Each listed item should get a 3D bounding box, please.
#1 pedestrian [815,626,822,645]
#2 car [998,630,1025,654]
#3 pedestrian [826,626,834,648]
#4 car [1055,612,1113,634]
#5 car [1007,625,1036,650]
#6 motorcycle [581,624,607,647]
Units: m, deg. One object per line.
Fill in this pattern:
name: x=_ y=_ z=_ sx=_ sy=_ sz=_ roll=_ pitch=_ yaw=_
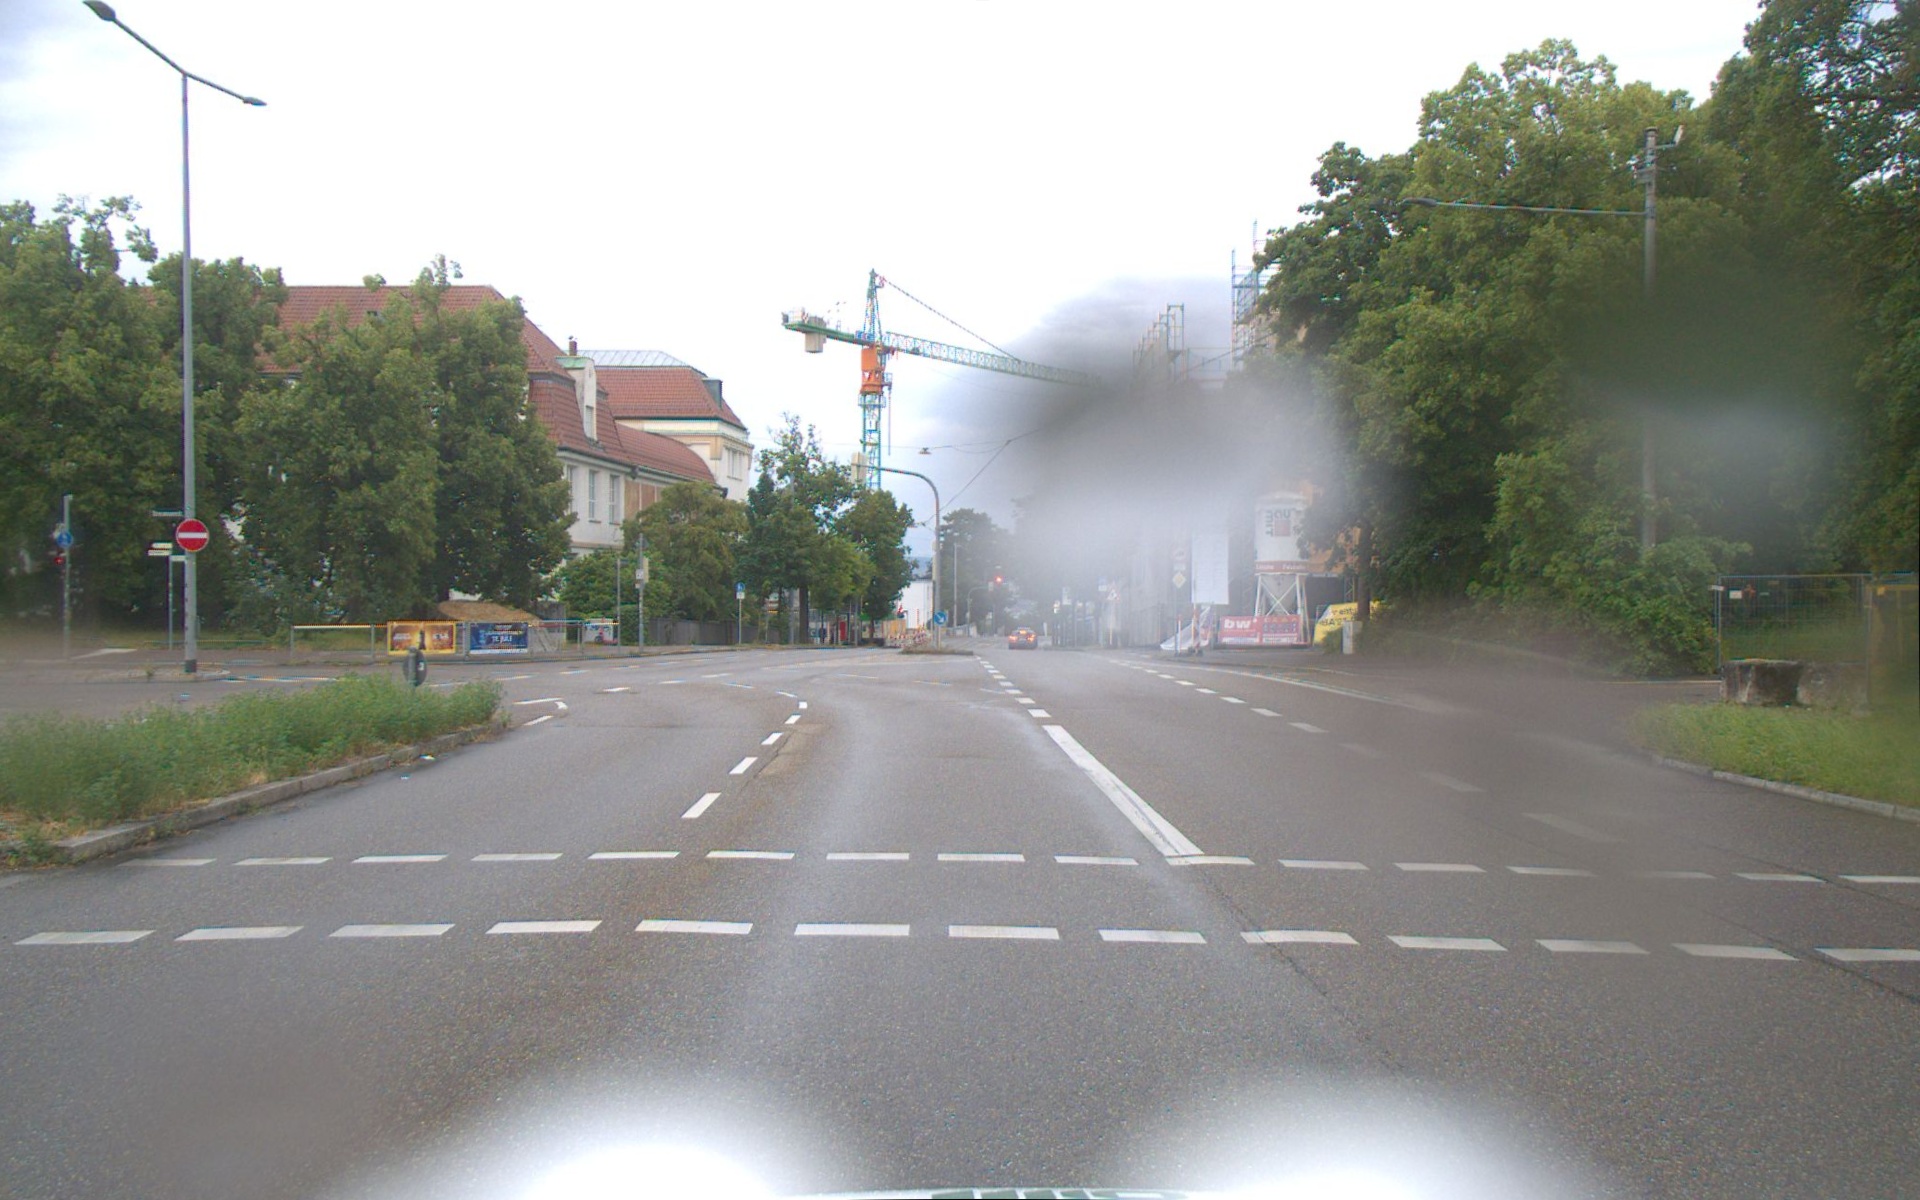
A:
pedestrian: x=-10.830 y=2.735 z=126.368 sx=0.465 sy=1.421 sz=0.411 roll=-1 pitch=0 yaw=-1
car: x=4.065 y=3.316 z=130.749 sx=1.953 sy=1.780 sz=3.999 roll=-1 pitch=0 yaw=-1
pedestrian: x=-9.937 y=2.822 z=126.443 sx=0.483 sy=1.674 sz=0.533 roll=1 pitch=-1 yaw=-1
car: x=14.054 y=2.633 z=187.477 sx=6.103 sy=2.445 sz=2.829 roll=1 pitch=0 yaw=-30
car: x=4.655 y=2.831 z=124.955 sx=1.953 sy=1.780 sz=3.999 roll=-1 pitch=0 yaw=-1
motorcycle: x=-14.304 y=1.387 z=64.661 sx=0.832 sy=0.893 sz=0.877 roll=1 pitch=0 yaw=-1
